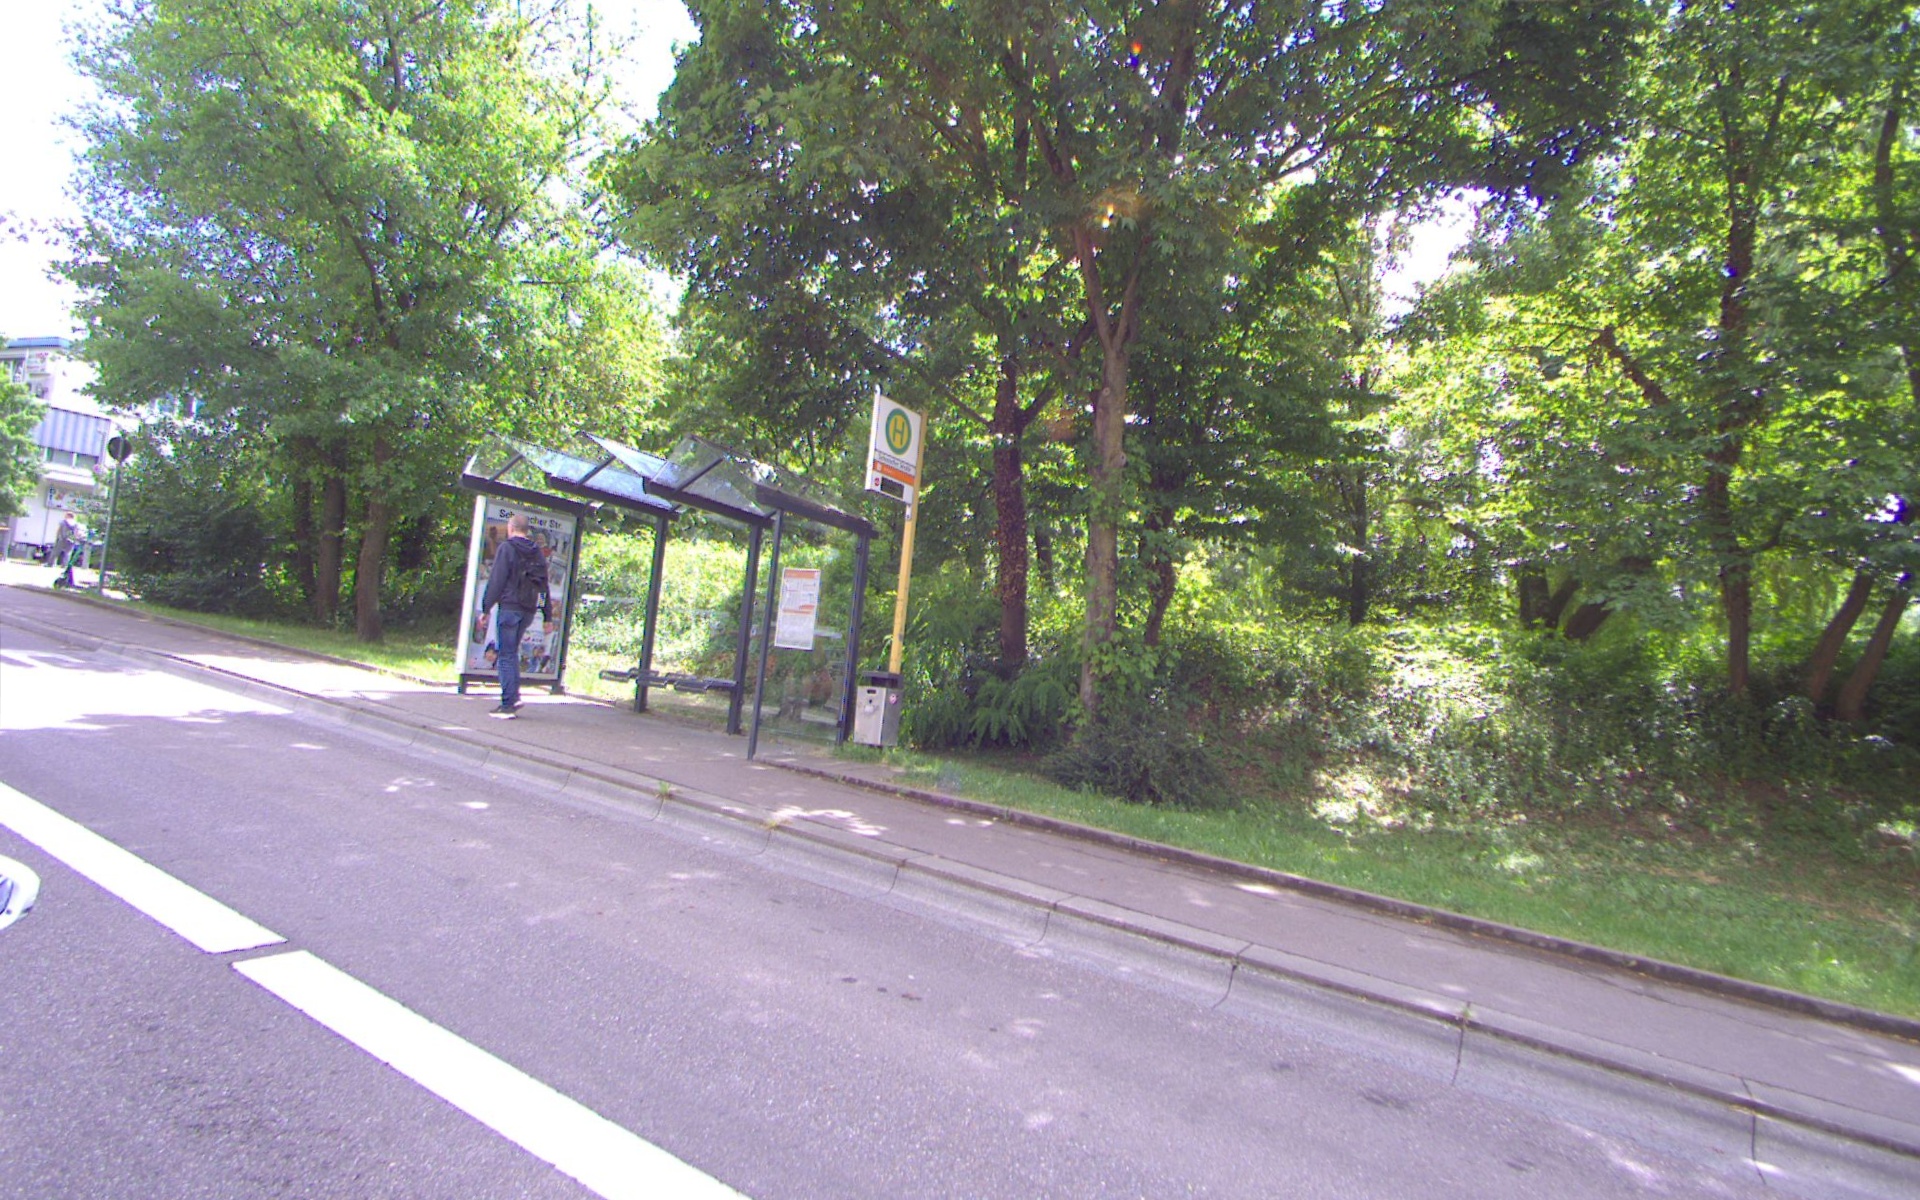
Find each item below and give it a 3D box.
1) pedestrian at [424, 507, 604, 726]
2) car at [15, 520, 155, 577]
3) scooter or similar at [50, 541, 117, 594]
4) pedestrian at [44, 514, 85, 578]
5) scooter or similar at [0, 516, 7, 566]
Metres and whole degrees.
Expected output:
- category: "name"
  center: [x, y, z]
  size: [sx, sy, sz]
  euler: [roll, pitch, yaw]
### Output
- category: "pedestrian"
  center: [-4.292, 0.153, 9.683]
  size: [1.250, 1.916, 0.803]
  euler: [6, -2, 33]
- category: "car"
  center: [-33.806, -1.954, 38.979]
  size: [1.679, 1.619, 3.592]
  euler: [6, -2, 20]
- category: "scooter or similar"
  center: [-20.587, -0.749, 23.652]
  size: [0.325, 1.112, 1.153]
  euler: [7, -2, 9]
- category: "pedestrian"
  center: [-27.004, -1.633, 30.344]
  size: [0.611, 1.808, 0.562]
  euler: [12, -5, -40]
- category: "scooter or similar"
  center: [-25.279, -1.589, 25.786]
  size: [0.326, 1.273, 1.111]
  euler: [7, -1, 20]
